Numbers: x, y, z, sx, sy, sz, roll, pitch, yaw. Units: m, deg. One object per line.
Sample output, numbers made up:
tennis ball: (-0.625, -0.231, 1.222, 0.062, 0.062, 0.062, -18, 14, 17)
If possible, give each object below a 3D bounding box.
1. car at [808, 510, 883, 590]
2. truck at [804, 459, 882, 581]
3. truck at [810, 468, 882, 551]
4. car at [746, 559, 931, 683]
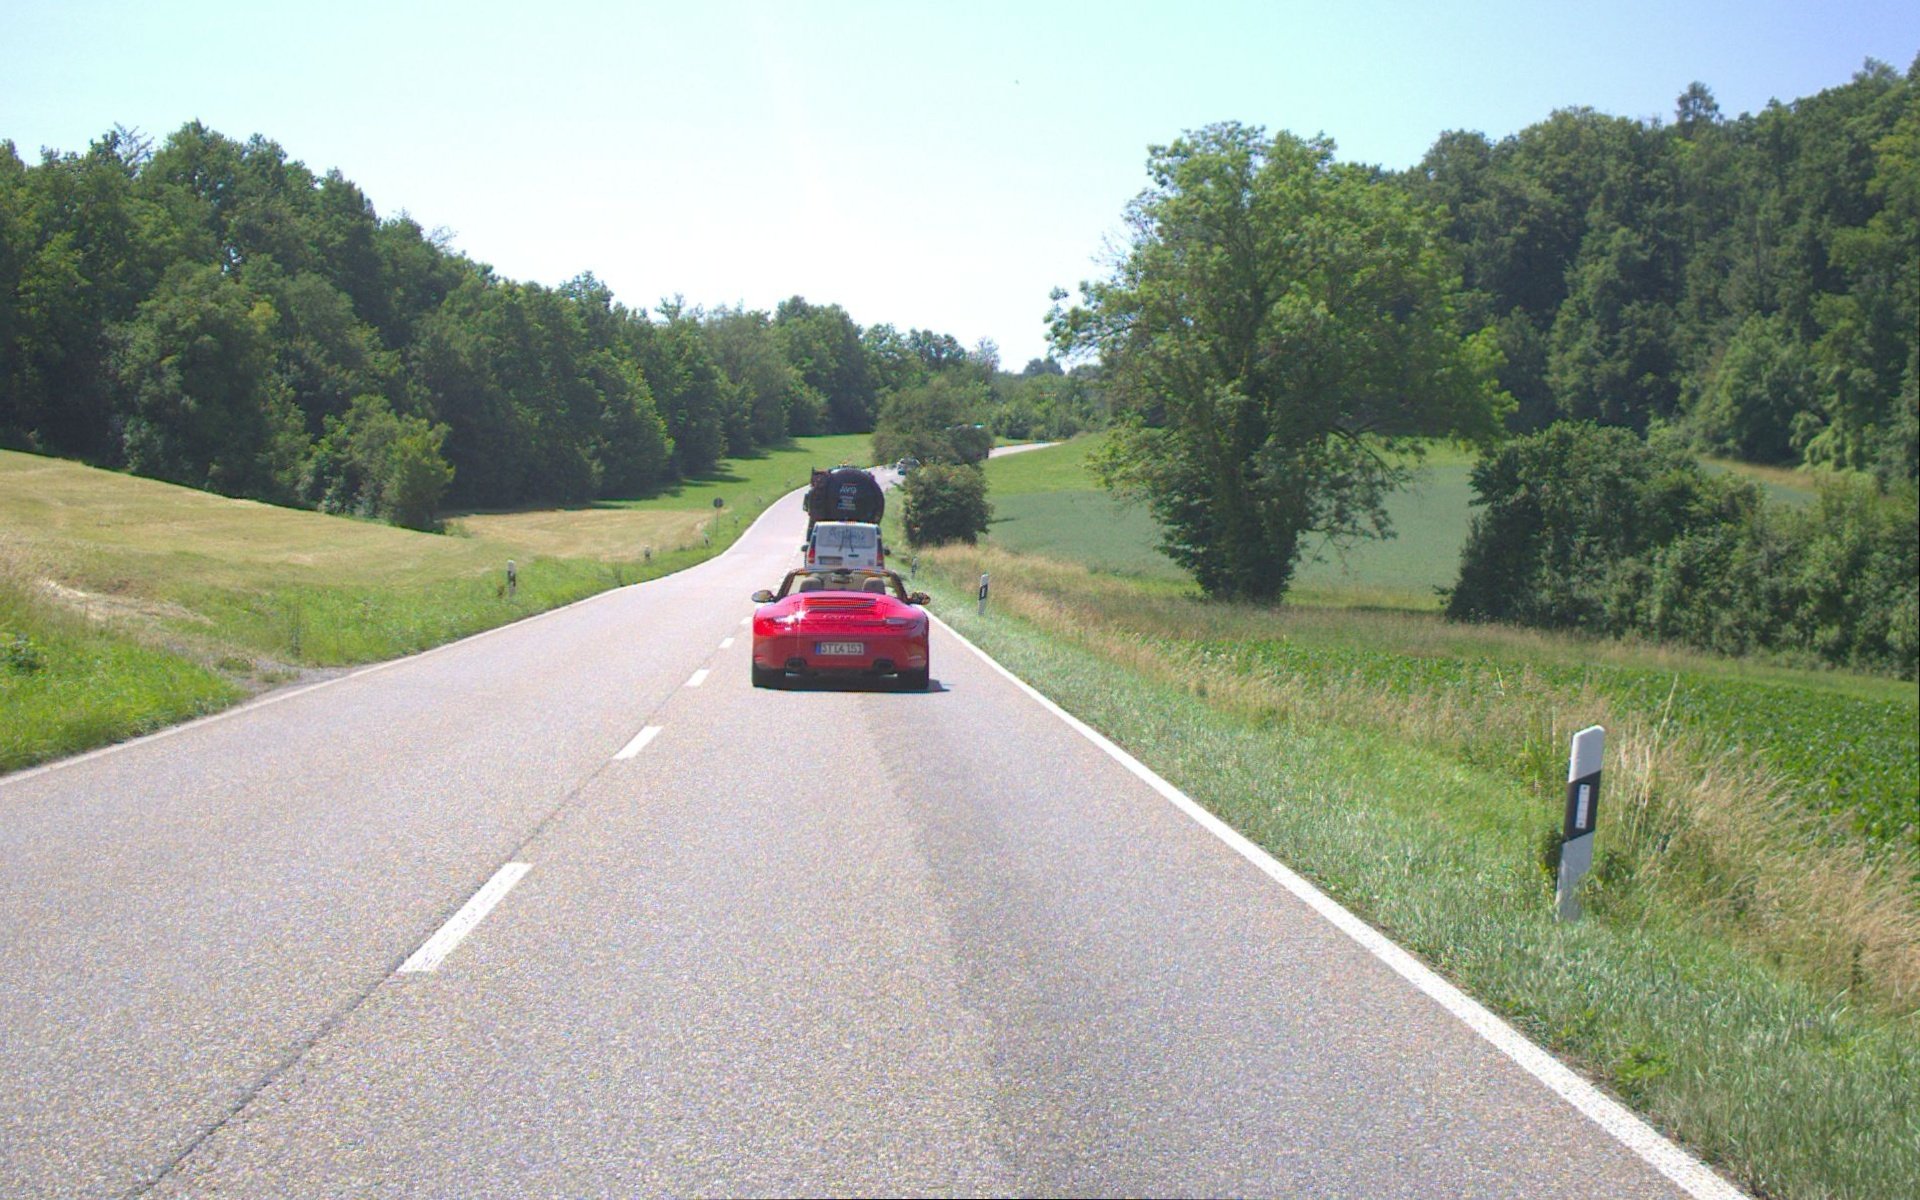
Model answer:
car: (-2.781, -1.249, 84.240, 1.678, 1.894, 4.010, 0, 1, 1)
truck: (-4.173, -2.818, 120.473, 2.403, 4.036, 12.552, 1, 2, -3)
truck: (-6.912, -5.514, 206.451, 3.724, 4.644, 12.034, 1, 3, -4)
car: (-1.290, 0.193, 37.044, 1.882, 1.251, 4.010, 0, 1, -1)
